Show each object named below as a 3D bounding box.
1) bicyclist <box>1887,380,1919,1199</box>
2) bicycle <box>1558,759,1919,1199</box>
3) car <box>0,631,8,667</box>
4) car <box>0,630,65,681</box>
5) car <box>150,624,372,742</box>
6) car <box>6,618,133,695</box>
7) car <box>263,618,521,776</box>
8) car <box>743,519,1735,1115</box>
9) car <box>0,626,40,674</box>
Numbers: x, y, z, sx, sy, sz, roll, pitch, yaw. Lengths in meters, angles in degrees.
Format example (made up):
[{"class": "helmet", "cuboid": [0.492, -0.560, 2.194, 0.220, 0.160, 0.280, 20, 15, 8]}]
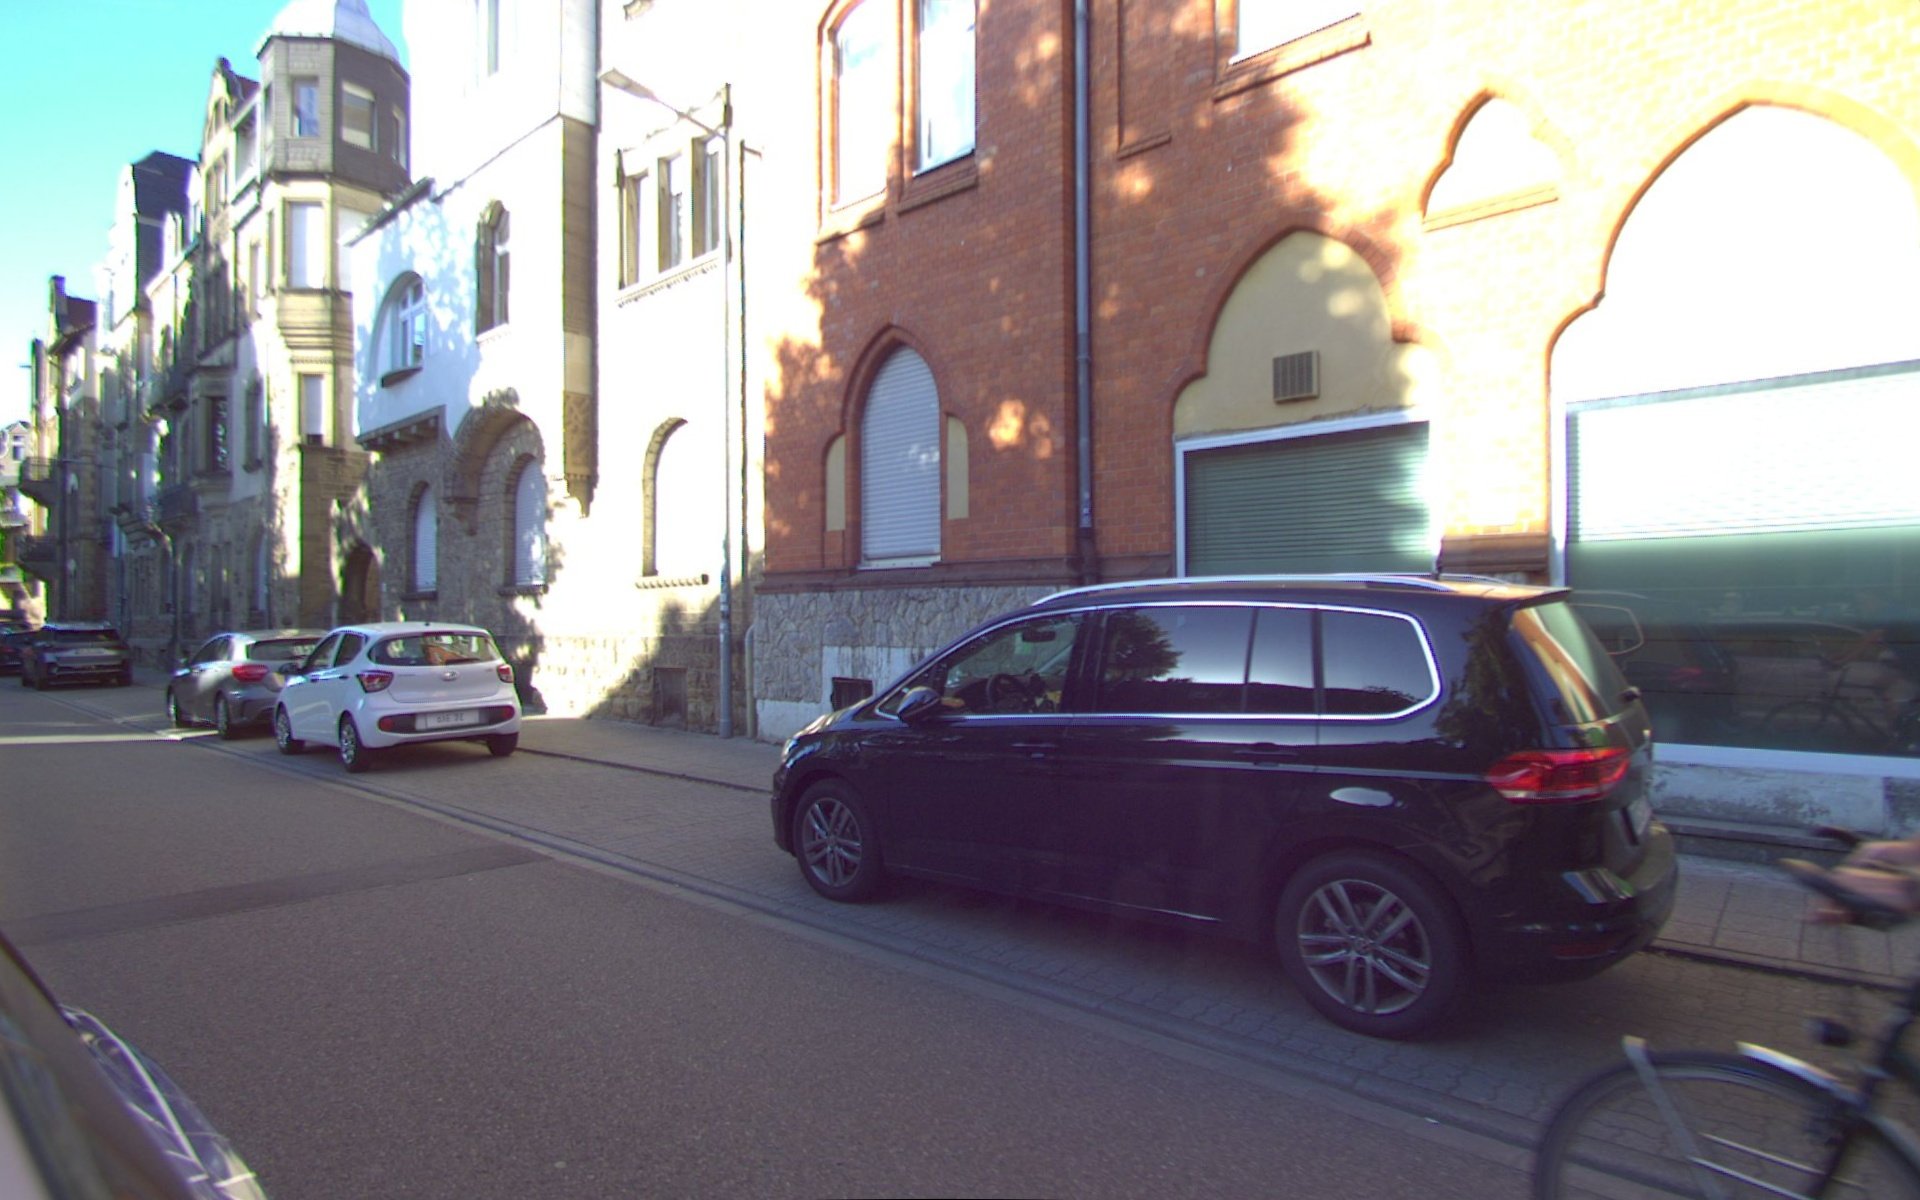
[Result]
[{"class": "bicyclist", "cuboid": [1.915, 0.433, 1.356, 0.948, 1.465, 0.751, -1, -2, 41]}, {"class": "bicycle", "cuboid": [1.946, 0.892, 1.318, 1.906, 1.116, 0.750, -1, -2, 41]}, {"class": "car", "cuboid": [-40.273, 2.086, 41.398, 3.854, 1.458, 1.612, -4, 1, 42]}, {"class": "car", "cuboid": [-31.136, 1.788, 33.476, 4.210, 1.512, 1.751, 0, -1, 41]}, {"class": "car", "cuboid": [-10.325, 1.128, 14.844, 4.108, 1.453, 1.660, -2, -1, 40]}, {"class": "car", "cuboid": [-22.512, 1.378, 25.530, 4.337, 1.730, 1.856, -2, -1, 41]}, {"class": "car", "cuboid": [-6.551, 0.989, 11.511, 3.591, 1.481, 1.549, -2, -1, 43]}, {"class": "car", "cuboid": [0.987, 0.643, 4.914, 4.346, 1.693, 1.652, -1, 0, 40]}, {"class": "car", "cuboid": [-35.902, 1.845, 37.824, 4.210, 1.680, 1.751, -1, 0, 41]}]
